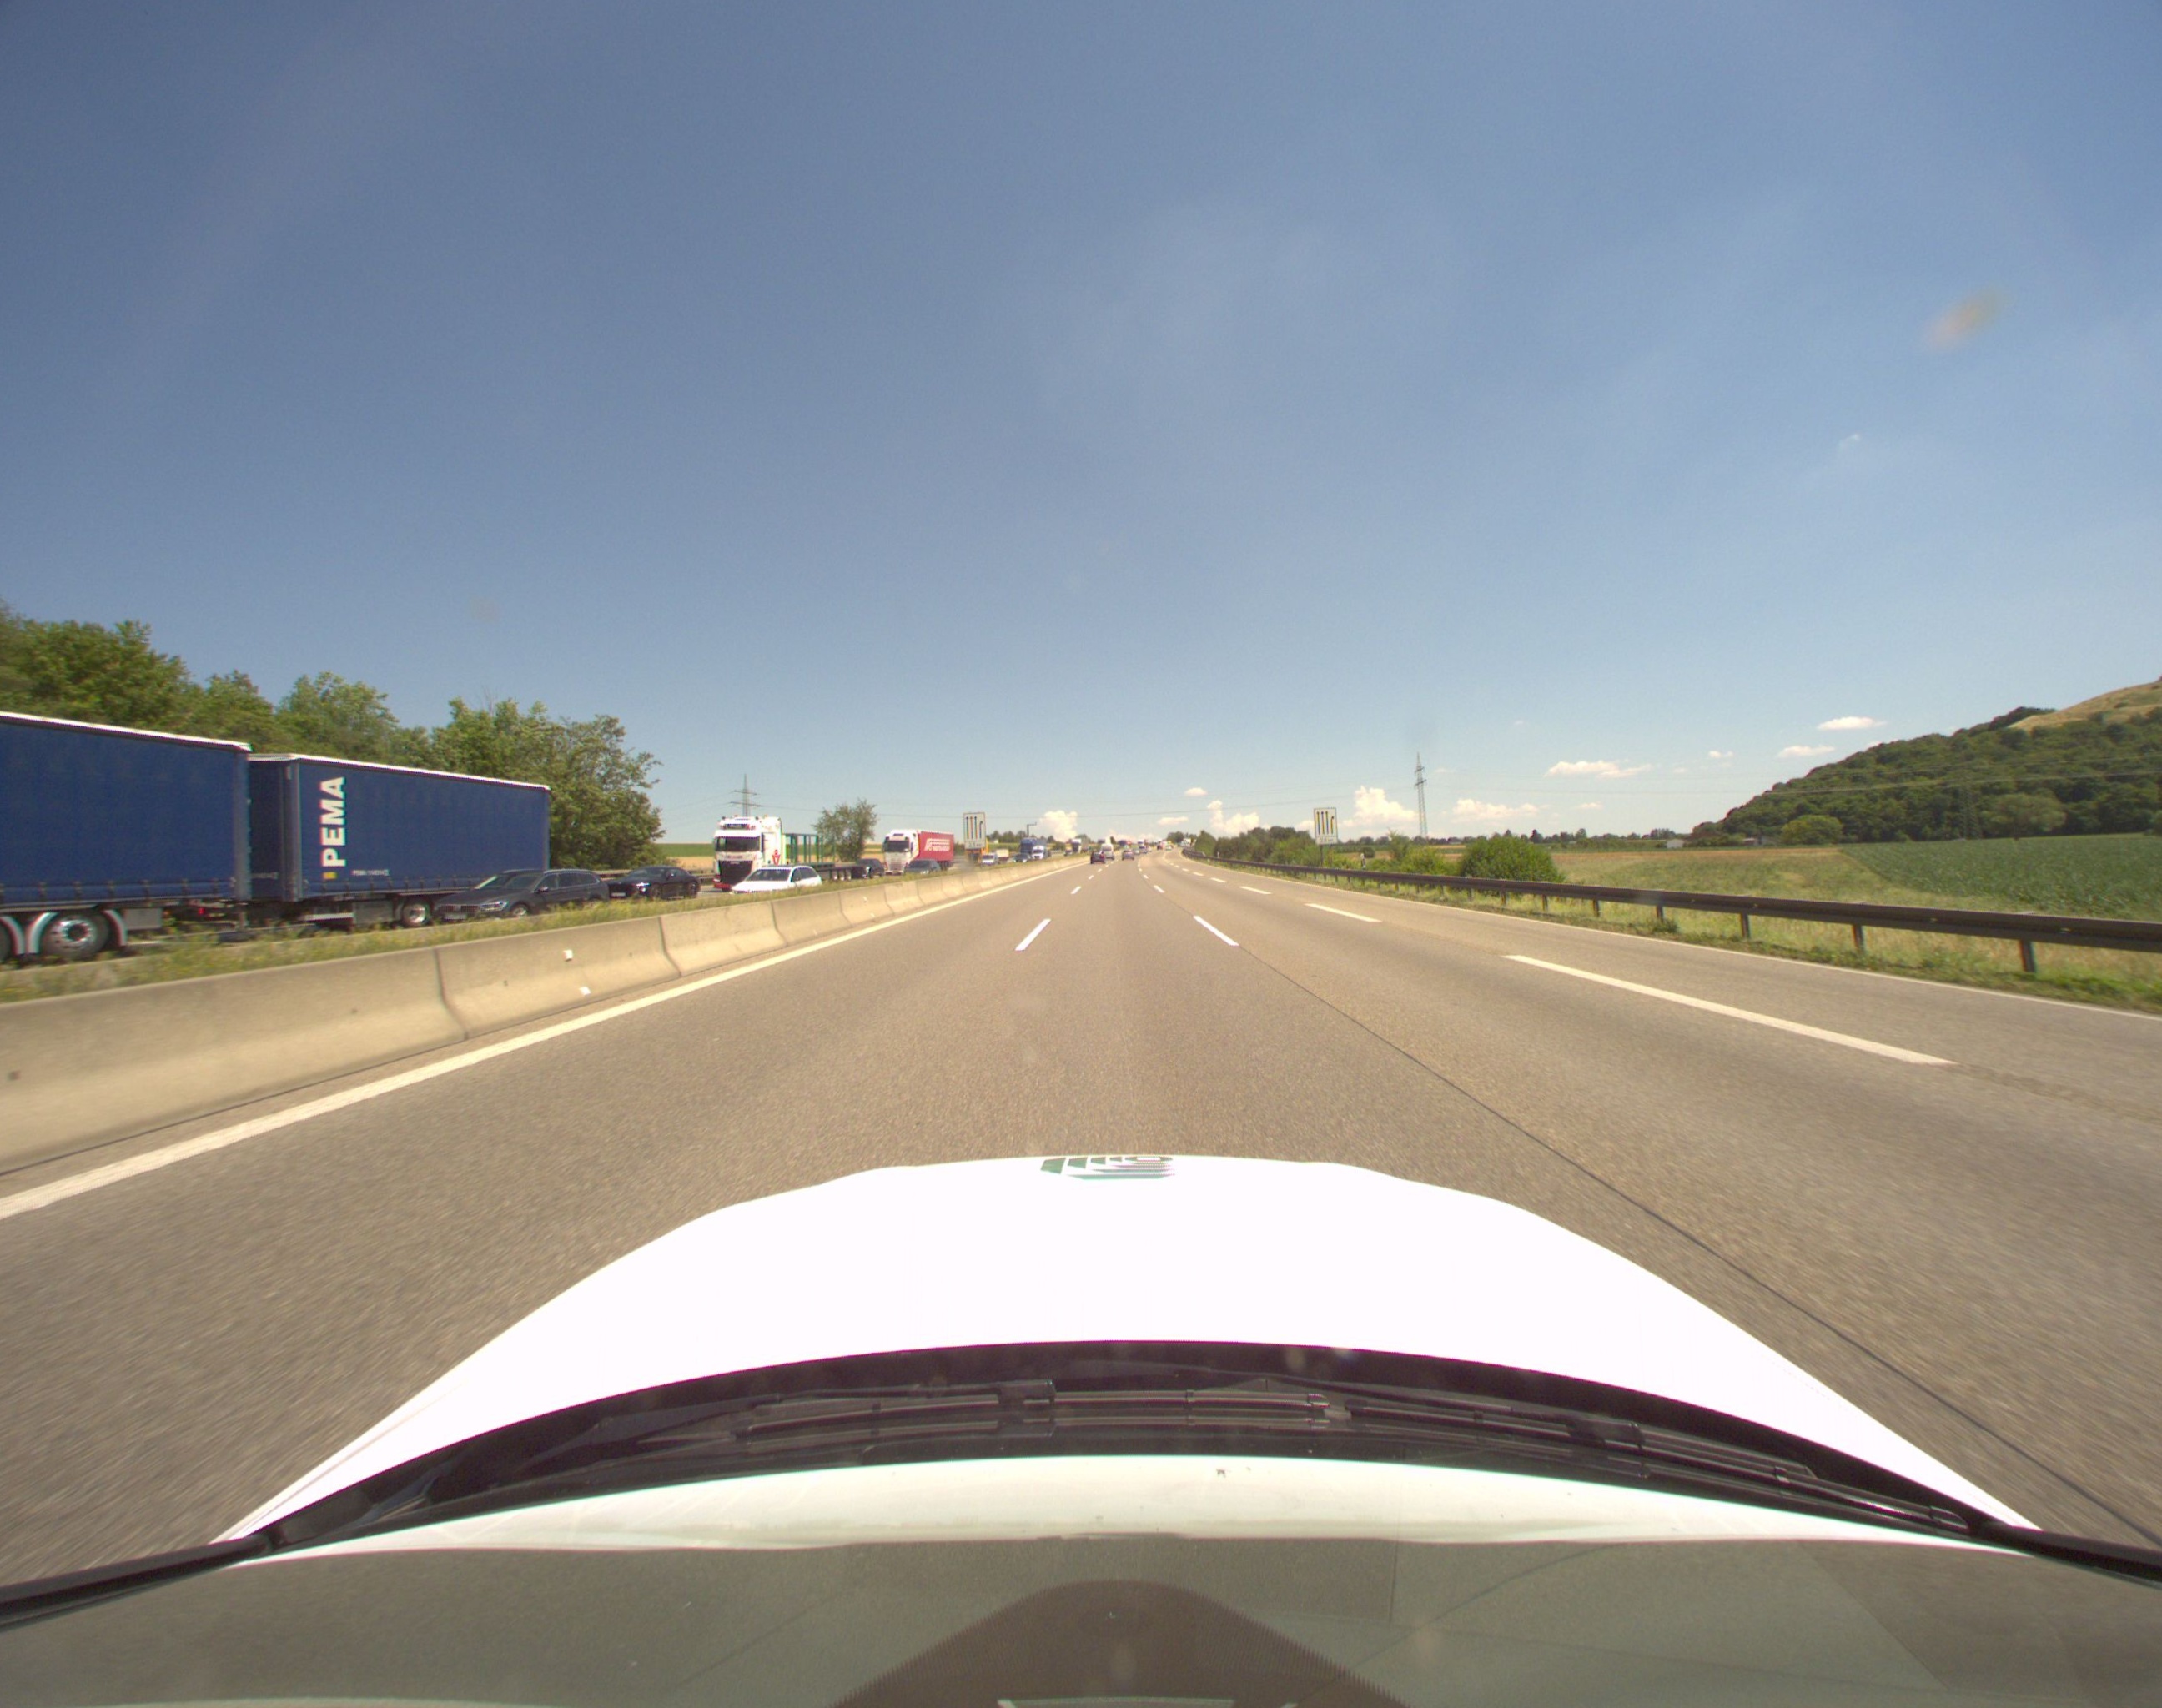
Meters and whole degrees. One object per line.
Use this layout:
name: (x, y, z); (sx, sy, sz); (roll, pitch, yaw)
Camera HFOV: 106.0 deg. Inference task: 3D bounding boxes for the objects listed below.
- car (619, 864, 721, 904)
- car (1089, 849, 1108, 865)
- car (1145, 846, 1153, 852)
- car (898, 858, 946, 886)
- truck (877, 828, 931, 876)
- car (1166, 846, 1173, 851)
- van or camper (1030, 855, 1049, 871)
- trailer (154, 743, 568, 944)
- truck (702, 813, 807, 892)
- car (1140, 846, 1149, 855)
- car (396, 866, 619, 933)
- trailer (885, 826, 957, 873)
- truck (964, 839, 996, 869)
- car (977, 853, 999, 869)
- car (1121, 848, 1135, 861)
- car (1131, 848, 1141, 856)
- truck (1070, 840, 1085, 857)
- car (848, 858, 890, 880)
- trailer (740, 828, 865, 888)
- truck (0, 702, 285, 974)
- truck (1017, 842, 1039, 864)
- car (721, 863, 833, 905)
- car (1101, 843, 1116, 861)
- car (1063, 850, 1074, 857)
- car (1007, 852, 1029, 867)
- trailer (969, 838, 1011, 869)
car: (-16.477, 1.149, 32.942); (1.650, 1.431, 4.650); (-1, 0, 2)
car: (2.179, 0.356, 100.873); (1.837, 1.861, 4.214); (-1, 1, 7)
car: (18.666, -1.290, 224.444); (1.983, 1.552, 4.008); (0, 1, 6)
car: (-9.474, 1.039, 48.954); (1.831, 1.583, 4.556); (0, 0, 2)
truck: (-15.737, -0.145, 72.947); (3.022, 4.081, 6.321); (-1, 0, 4)
car: (28.094, -1.728, 258.548); (1.891, 1.442, 4.009); (-1, 1, 8)
van or camper: (-6.866, 1.453, 136.027); (2.301, 2.586, 7.150); (-1, 0, 4)
trailer: (-17.956, -0.206, 21.531); (2.974, 4.193, 8.600); (-1, 0, 2)
truck: (-17.147, -0.081, 43.261); (2.889, 3.876, 6.181); (0, 0, 2)
car: (15.105, -0.913, 194.087); (1.985, 1.904, 4.003); (-1, -2, 3)
car: (-14.441, 1.066, 21.013); (1.986, 1.455, 5.171); (-1, 0, 1)
trailer: (-15.299, -0.403, 79.541); (3.072, 4.100, 14.398); (-1, 0, 4)
truck: (-13.367, -0.005, 108.082); (2.737, 3.837, 7.109); (-1, 0, 5)
car: (-10.761, 0.832, 94.644); (1.906, 1.772, 4.764); (0, 0, 2)
car: (7.303, 0.076, 126.363); (1.986, 1.750, 4.001); (0, -2, 2)
car: (11.831, -0.409, 175.268); (1.985, 1.585, 4.003); (-2, -1, 4)
truck: (-0.930, -1.494, 224.059); (3.115, 4.327, 6.160); (-1, 0, 8)
car: (-16.200, 1.171, 62.540); (1.831, 1.631, 4.606); (0, -2, 2)
trailer: (-16.784, 0.208, 50.535); (2.846, 3.206, 12.791); (0, 0, 2)
truck: (-18.373, -0.225, 11.709); (2.989, 4.234, 10.739); (-1, 0, 2)
truck: (-9.771, -0.178, 151.394); (3.061, 4.090, 6.945); (-1, 0, 5)
car: (-10.192, 1.036, 27.729); (1.831, 1.285, 4.876); (0, -2, 2)
car: (4.383, -0.232, 128.718); (2.169, 2.625, 4.678); (-1, -2, 5)
car: (-2.773, -0.108, 177.618); (1.905, 1.541, 5.749); (-1, 0, 4)
car: (-7.587, 0.678, 98.404); (2.041, 1.696, 5.258); (0, 0, 2)
trailer: (-12.704, -0.175, 115.004); (2.938, 4.100, 14.403); (-1, 0, 5)
